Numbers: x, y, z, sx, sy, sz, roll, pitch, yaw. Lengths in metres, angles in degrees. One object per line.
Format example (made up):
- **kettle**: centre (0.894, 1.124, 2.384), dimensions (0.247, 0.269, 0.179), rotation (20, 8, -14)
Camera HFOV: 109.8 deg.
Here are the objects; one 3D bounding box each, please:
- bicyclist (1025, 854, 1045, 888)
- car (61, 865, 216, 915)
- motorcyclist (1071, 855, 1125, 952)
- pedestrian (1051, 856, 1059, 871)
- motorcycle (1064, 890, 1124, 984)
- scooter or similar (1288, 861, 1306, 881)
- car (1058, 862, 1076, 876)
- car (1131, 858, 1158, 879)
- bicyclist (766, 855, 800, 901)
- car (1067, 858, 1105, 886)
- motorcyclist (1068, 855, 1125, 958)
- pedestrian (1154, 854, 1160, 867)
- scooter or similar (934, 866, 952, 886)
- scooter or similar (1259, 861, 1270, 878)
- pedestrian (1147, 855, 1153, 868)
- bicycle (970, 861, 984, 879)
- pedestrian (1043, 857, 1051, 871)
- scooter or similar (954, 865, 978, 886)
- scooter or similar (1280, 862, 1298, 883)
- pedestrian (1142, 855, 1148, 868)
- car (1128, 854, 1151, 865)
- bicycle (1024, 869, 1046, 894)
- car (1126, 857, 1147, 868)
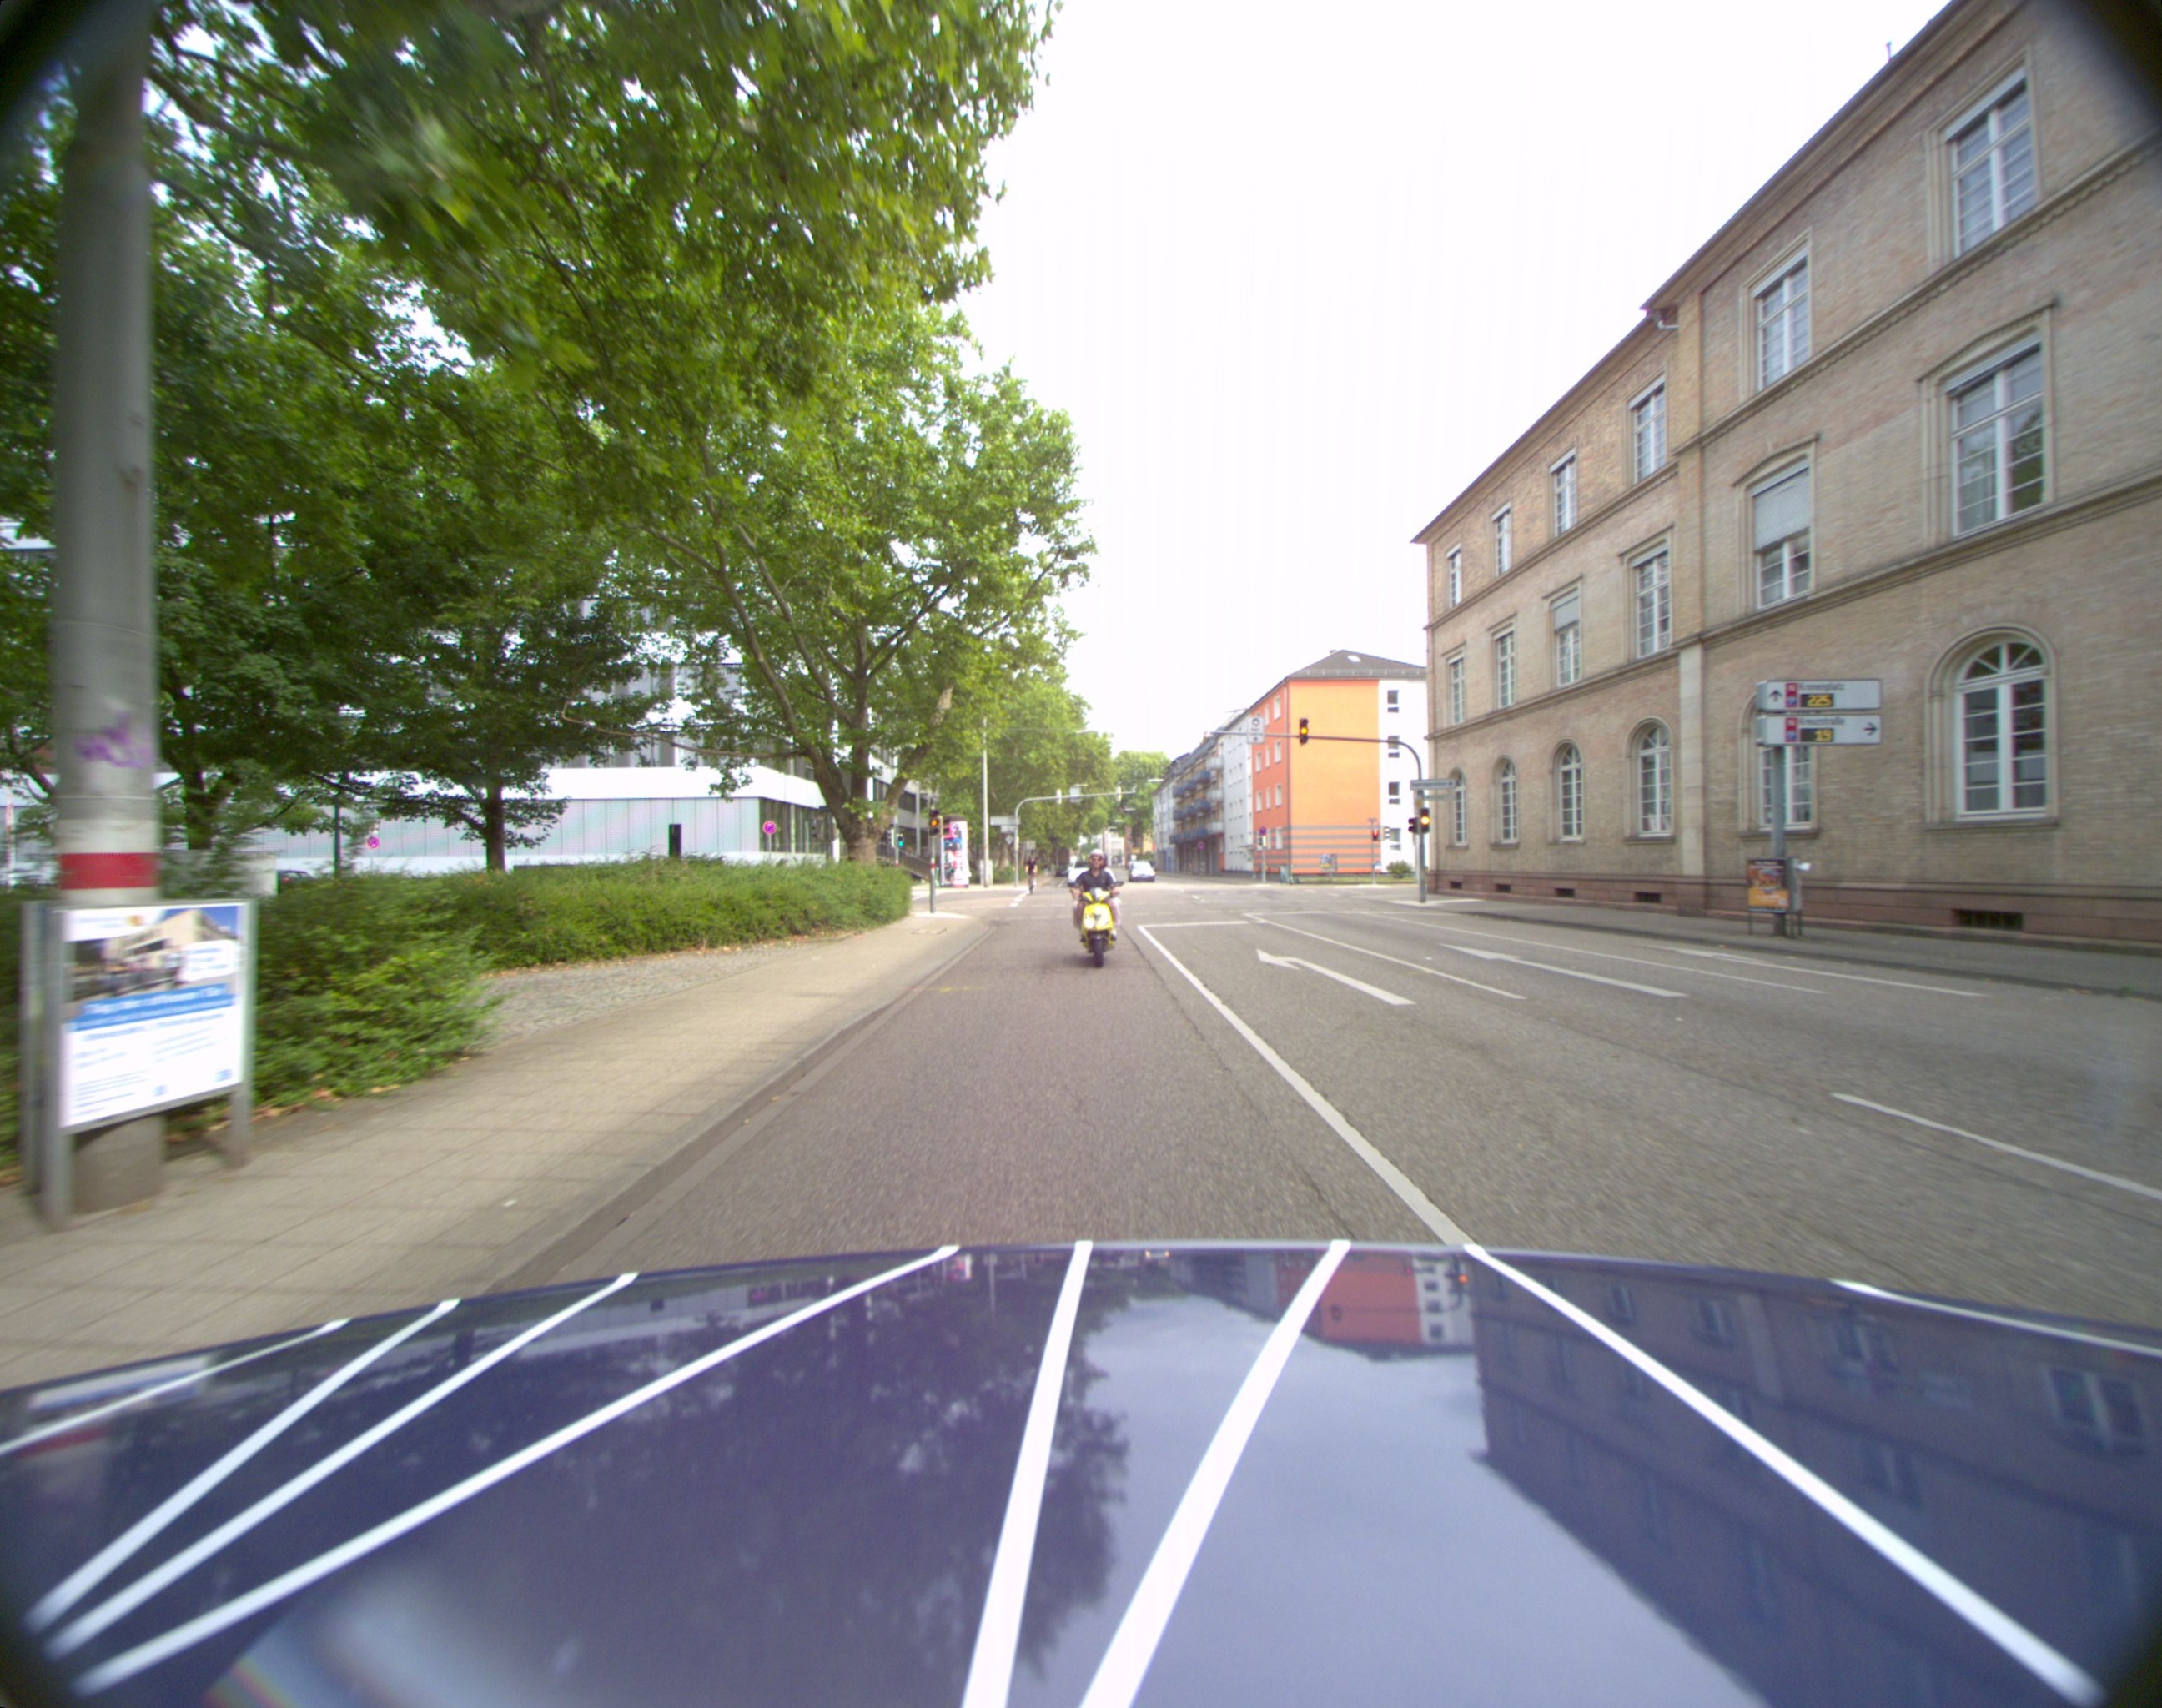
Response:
- **bicyclist**: centre (-2.028, 0.740, 33.556), dimensions (0.784, 1.438, 0.914), rotation (-3, 0, 0)
- **car**: centre (-42.198, 1.571, 34.140), dimensions (4.000, 2.002, 1.999), rotation (-2, 0, -9)
- **motorcyclist**: centre (0.264, 0.726, 11.435), dimensions (0.781, 1.419, 0.689), rotation (0, 0, 2)
- **pedestrian**: centre (-3.604, 1.336, 104.753), dimensions (1.003, 2.002, 0.997), rotation (-3, 0, 2)
- **motorcycle**: centre (0.213, 1.138, 10.952), dimensions (0.781, 1.171, 1.993), rotation (0, -1, 2)
- **scooter or similar**: centre (12.550, 1.001, 44.158), dimensions (0.330, 1.151, 1.352), rotation (-3, 0, -13)
- **car**: centre (-1.702, 1.835, 93.222), dimensions (1.998, 1.532, 4.271), rotation (-3, 0, 0)
- **car**: centre (4.634, 1.060, 55.846), dimensions (1.673, 1.430, 3.820), rotation (-1, 0, -1)
- **bicyclist**: centre (-11.079, 0.876, 28.259), dimensions (0.831, 1.668, 0.916), rotation (-1, 1, 4)
- **car**: centre (0.376, 1.069, 47.224), dimensions (1.998, 1.543, 4.523), rotation (-3, 0, 4)
- **motorcyclist**: centre (0.231, 0.729, 10.835), dimensions (0.781, 1.419, 0.764), rotation (0, 0, 2)
- **pedestrian**: centre (11.756, 1.052, 117.007), dimensions (0.842, 2.002, 0.875), rotation (-3, 0, 4)
- **scooter or similar**: centre (-7.863, 1.244, 43.217), dimensions (0.473, 1.130, 1.307), rotation (1, 0, -34)
- **scooter or similar**: centre (12.348, 1.035, 51.020), dimensions (0.369, 1.117, 1.354), rotation (-3, 0, 0)
- **pedestrian**: centre (10.531, 1.102, 116.572), dimensions (0.842, 2.002, 0.875), rotation (-3, 0, 4)
- **bicycle**: centre (-7.121, 1.081, 52.197), dimensions (0.700, 1.162, 1.725), rotation (-3, 0, 0)
- **pedestrian**: centre (-4.664, 1.381, 104.781), dimensions (1.003, 2.002, 0.997), rotation (-3, 0, 2)
- **scooter or similar**: centre (-6.532, 1.218, 43.229), dimensions (1.309, 1.202, 0.344), rotation (1, 0, 4)
- **scooter or similar**: centre (11.995, 1.076, 43.894), dimensions (0.330, 1.172, 1.341), rotation (-3, 0, -13)
- **pedestrian**: centre (10.075, 1.150, 119.673), dimensions (0.842, 2.002, 0.875), rotation (-3, 0, 4)
- **car**: centre (11.084, 1.031, 143.549), dimensions (3.997, 2.002, 2.000), rotation (-3, 0, -1)
- **bicycle**: centre (-1.997, 1.196, 33.488), dimensions (0.771, 1.009, 2.407), rotation (-4, 0, 0)
- **car**: centre (11.060, 1.625, 152.801), dimensions (3.997, 2.002, 2.000), rotation (-3, 0, -1)
